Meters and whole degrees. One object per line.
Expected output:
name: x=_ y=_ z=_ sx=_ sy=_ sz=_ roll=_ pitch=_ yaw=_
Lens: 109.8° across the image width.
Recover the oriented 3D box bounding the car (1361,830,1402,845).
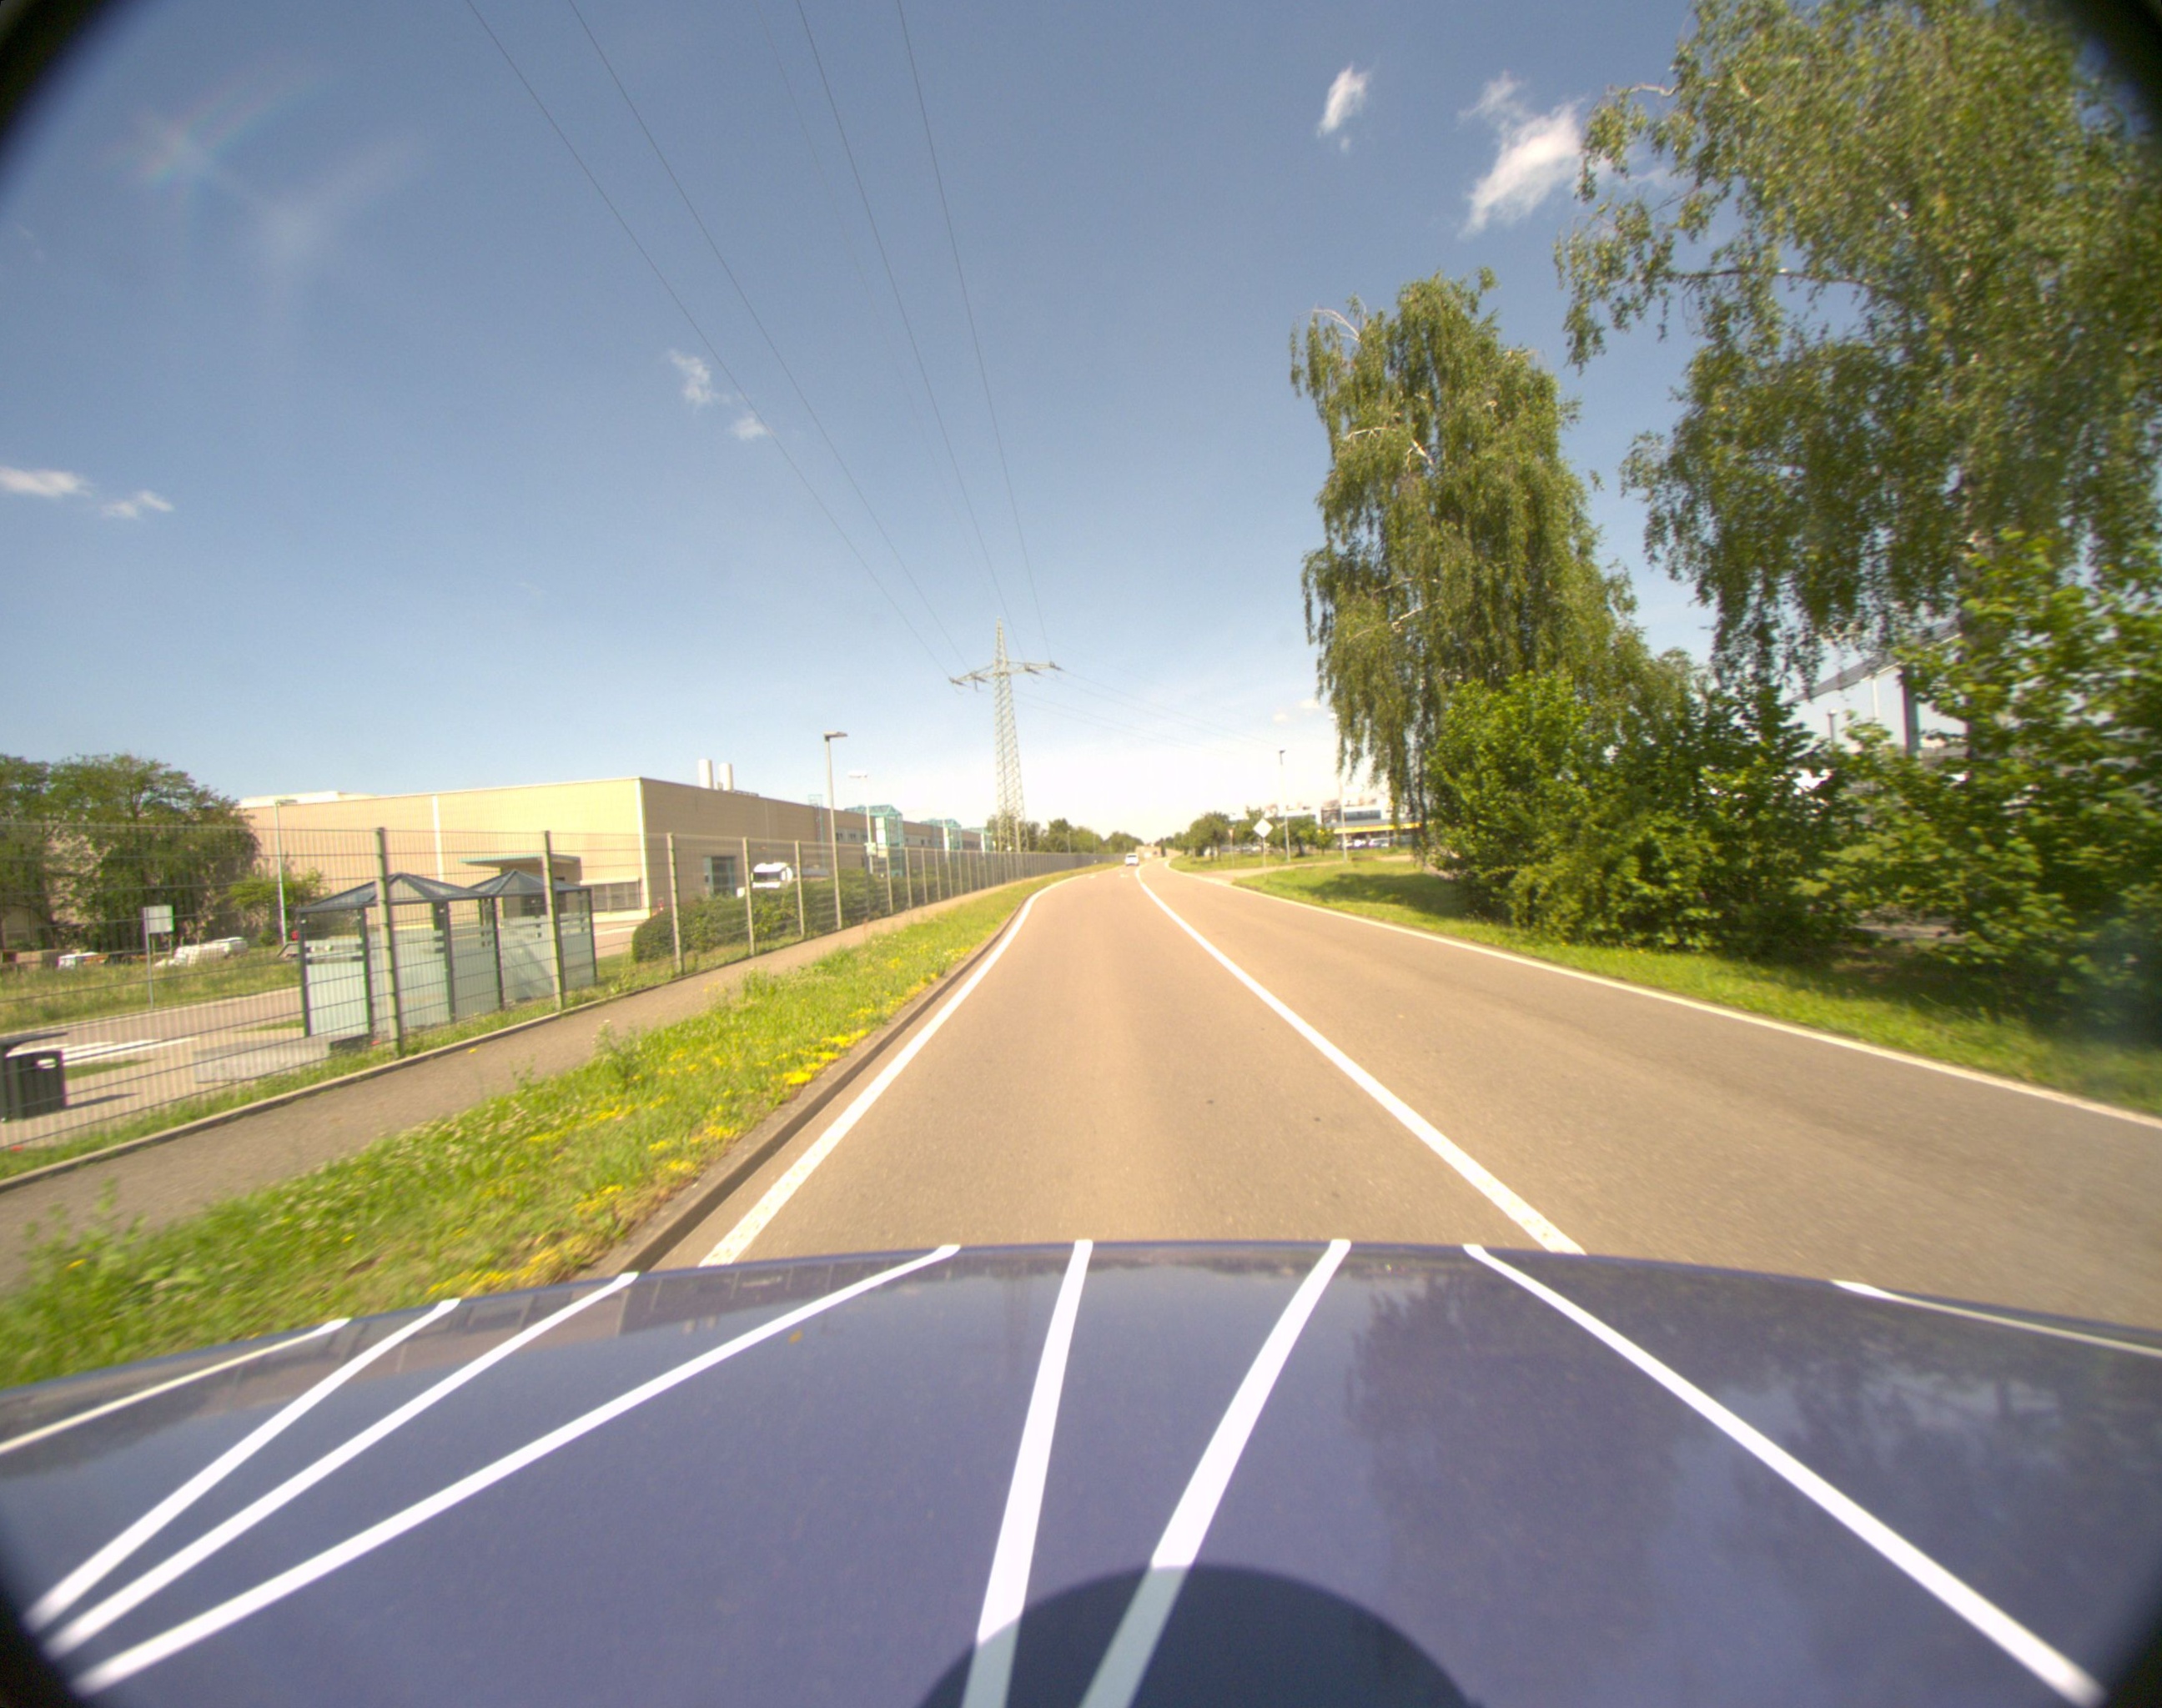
car: x=35.866 y=-1.947 z=90.745 sx=4.220 sy=1.634 sz=1.871 roll=-3 pitch=1 yaw=1

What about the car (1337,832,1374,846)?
car: x=36.610 y=-1.951 z=101.491 sx=4.220 sy=1.677 sz=1.871 roll=-3 pitch=1 yaw=1

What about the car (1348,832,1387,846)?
car: x=36.213 y=-1.905 z=96.051 sx=4.220 sy=1.591 sz=1.871 roll=-3 pitch=1 yaw=1

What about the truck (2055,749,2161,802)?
truck: x=70.944 y=-5.269 z=50.749 sx=3.020 sy=3.064 sz=6.742 roll=-3 pitch=1 yaw=-1

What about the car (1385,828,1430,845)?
car: x=36.739 y=-1.945 z=85.689 sx=4.220 sy=1.634 sz=1.871 roll=-3 pitch=1 yaw=1

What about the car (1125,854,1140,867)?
car: x=7.724 y=0.995 z=113.020 sx=1.835 sy=1.796 sz=4.832 roll=-2 pitch=0 yaw=8

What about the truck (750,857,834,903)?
truck: x=-27.316 y=2.326 z=72.580 sx=2.863 sy=3.720 sz=11.677 roll=-3 pitch=1 yaw=3
